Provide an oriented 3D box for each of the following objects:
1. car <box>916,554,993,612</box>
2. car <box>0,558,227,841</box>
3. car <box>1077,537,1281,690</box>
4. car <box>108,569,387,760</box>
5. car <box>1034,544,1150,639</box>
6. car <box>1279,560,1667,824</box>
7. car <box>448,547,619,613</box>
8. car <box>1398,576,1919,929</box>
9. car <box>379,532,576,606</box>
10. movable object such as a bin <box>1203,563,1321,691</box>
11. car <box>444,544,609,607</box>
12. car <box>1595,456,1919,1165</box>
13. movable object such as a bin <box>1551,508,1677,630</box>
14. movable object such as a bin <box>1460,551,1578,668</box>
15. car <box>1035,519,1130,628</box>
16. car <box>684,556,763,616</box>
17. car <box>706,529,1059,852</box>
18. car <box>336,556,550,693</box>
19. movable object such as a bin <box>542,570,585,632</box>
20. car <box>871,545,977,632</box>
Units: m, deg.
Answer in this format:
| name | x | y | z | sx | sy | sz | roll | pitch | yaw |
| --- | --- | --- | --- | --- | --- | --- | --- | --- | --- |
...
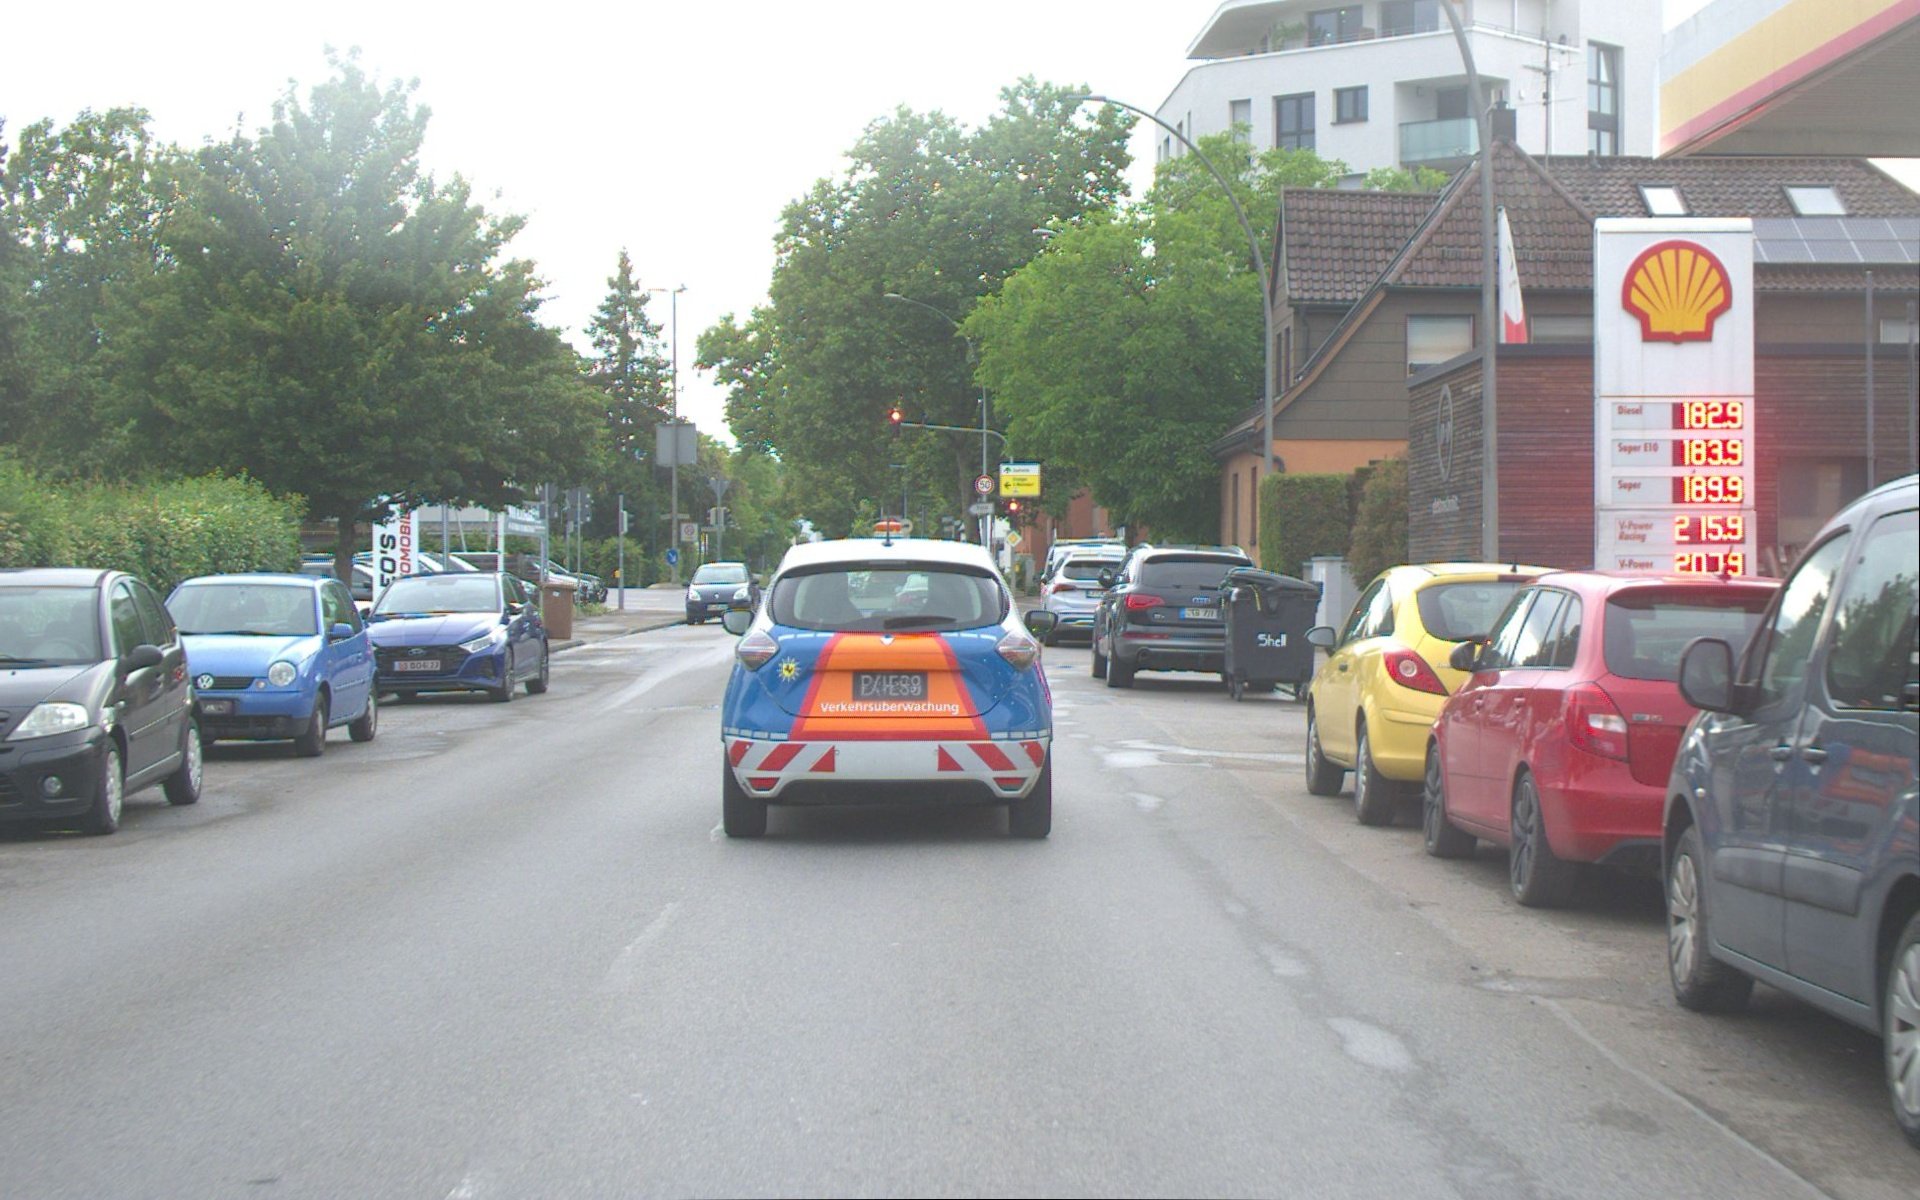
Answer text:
| name | x | y | z | sx | sy | sz | roll | pitch | yaw |
| --- | --- | --- | --- | --- | --- | --- | --- | --- | --- |
| car | -0.169 | -0.485 | 93.774 | 1.794 | 1.423 | 4.001 | 1 | 2 | -4 |
| car | -5.552 | 0.527 | 20.410 | 1.608 | 1.501 | 3.707 | -1 | 1 | 0 |
| car | 2.597 | 0.113 | 41.802 | 2.091 | 1.656 | 4.559 | 1 | 2 | -1 |
| car | -5.779 | 0.480 | 28.239 | 1.545 | 1.398 | 3.597 | -1 | 1 | 0 |
| car | 2.377 | -0.179 | 62.815 | 1.865 | 1.659 | 4.320 | 1 | 1 | -1 |
| car | 2.940 | 0.474 | 20.420 | 1.656 | 1.397 | 3.802 | 0 | 1 | -1 |
| car | -10.663 | -0.503 | 86.154 | 3.987 | 1.538 | 1.803 | 1 | 1 | 2 |
| car | 3.139 | 0.599 | 15.801 | 1.656 | 1.372 | 4.025 | 0 | 1 | -1 |
| car | -11.283 | -0.736 | 80.585 | 4.347 | 1.684 | 1.959 | 0 | 1 | 0 |
| movable object such as a bin | 3.353 | 0.284 | 38.313 | 1.126 | 1.383 | 1.504 | 0 | 1 | -3 |
| car | -11.238 | -0.642 | 89.202 | 3.987 | 1.538 | 1.803 | 1 | 1 | 2 |
| car | 3.167 | 0.514 | 10.032 | 1.656 | 1.732 | 4.445 | 2 | 1 | -1 |
| movable object such as a bin | 7.299 | -0.349 | 38.439 | 1.101 | 1.335 | 1.385 | 0 | 1 | -2 |
| movable object such as a bin | 6.536 | 0.097 | 40.257 | 1.101 | 1.335 | 1.385 | 0 | 1 | -2 |
| car | 2.447 | -0.563 | 68.769 | 1.778 | 2.022 | 4.754 | 1 | 2 | 2 |
| car | -5.815 | -0.357 | 84.851 | 1.626 | 1.428 | 3.683 | 0 | 1 | 1 |
| car | -0.412 | 0.412 | 19.126 | 1.746 | 1.575 | 4.000 | 0 | 1 | -1 |
| car | -5.758 | 0.234 | 38.702 | 1.807 | 1.398 | 3.945 | -1 | 1 | 0 |
| movable object such as a bin | -7.381 | 0.011 | 64.061 | 0.708 | 1.126 | 0.735 | 1 | 1 | 0 |
| car | -0.681 | -0.254 | 68.497 | 1.993 | 1.568 | 4.000 | 1 | 2 | 1 |
